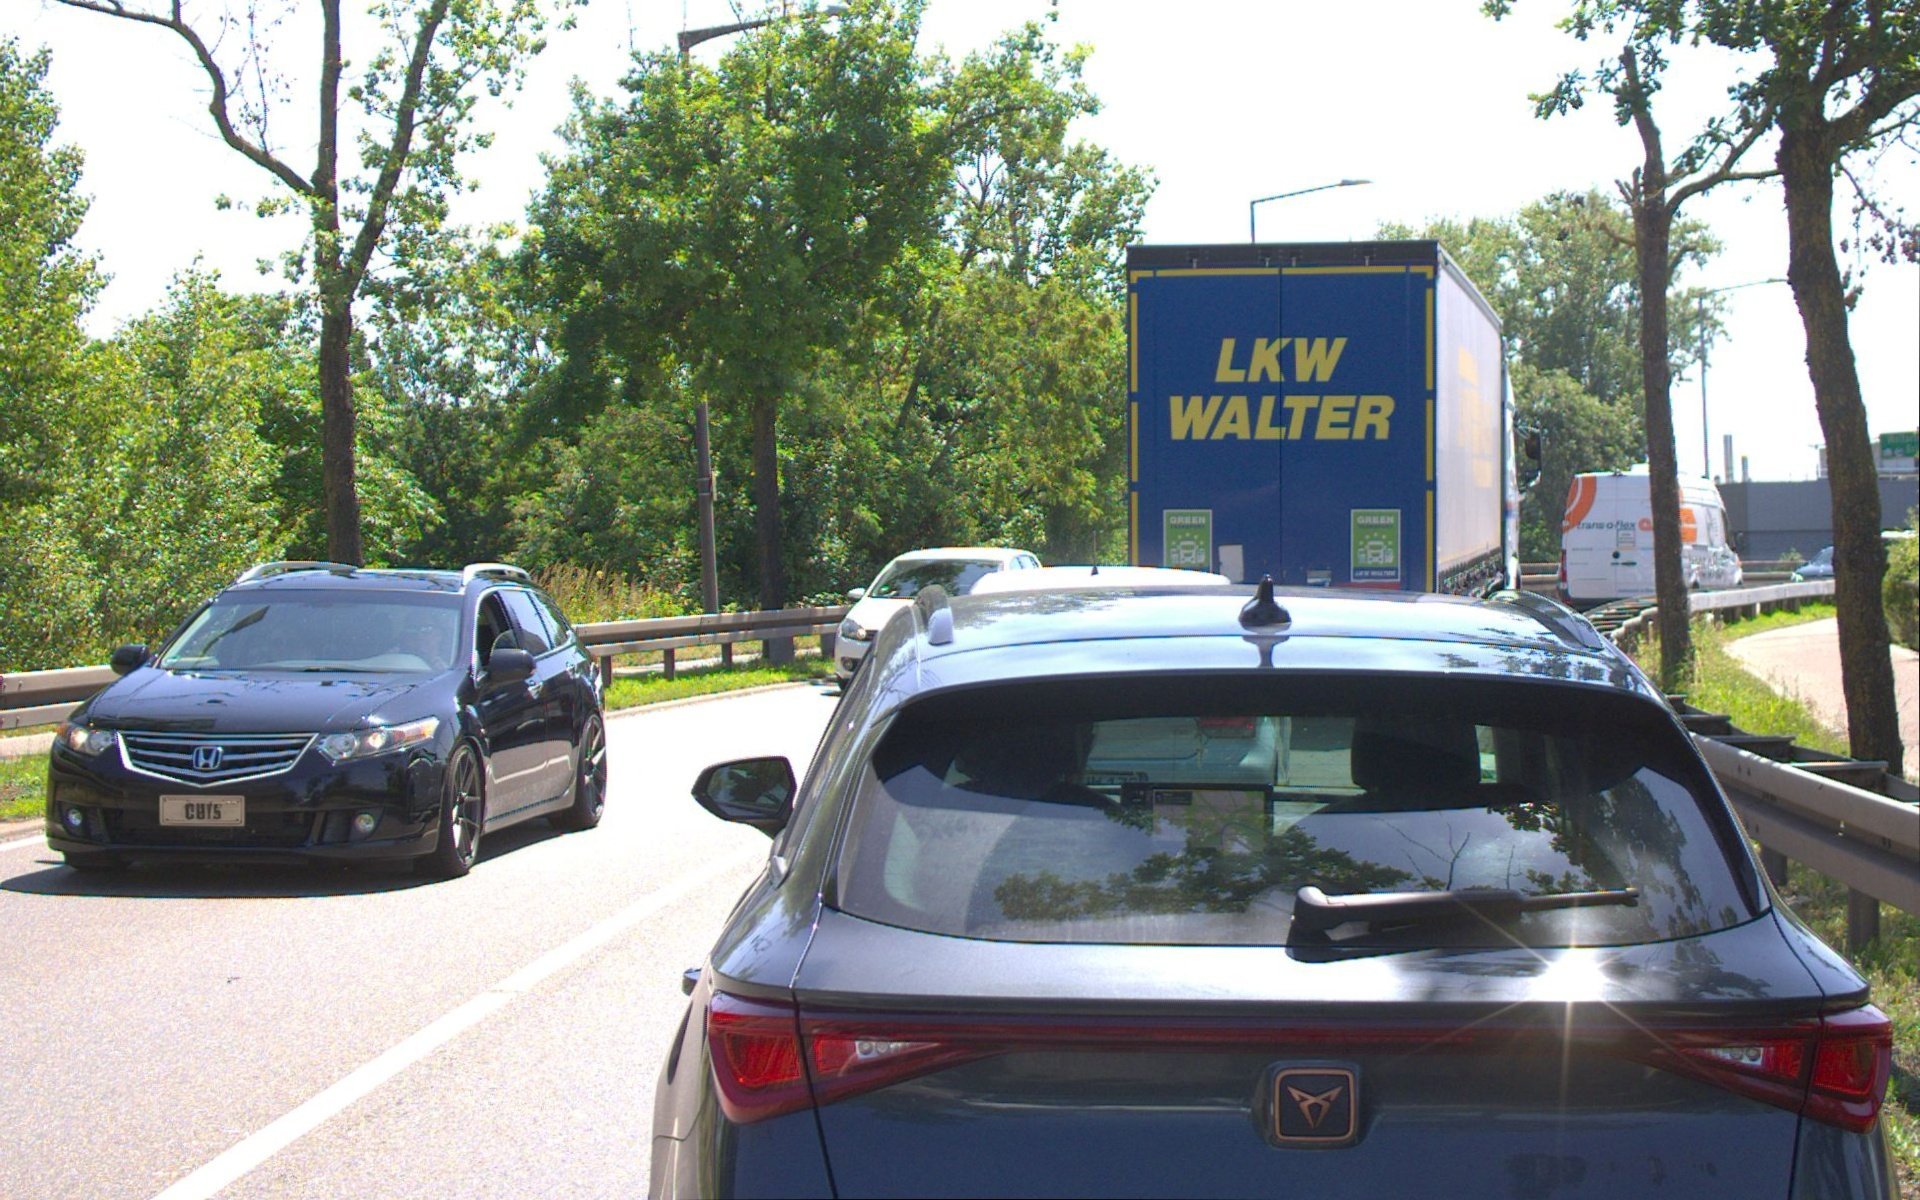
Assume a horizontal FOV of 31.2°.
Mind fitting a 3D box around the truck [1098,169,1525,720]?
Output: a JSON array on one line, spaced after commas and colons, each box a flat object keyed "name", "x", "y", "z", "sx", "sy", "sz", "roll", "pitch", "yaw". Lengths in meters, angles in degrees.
[{"name": "truck", "x": 4.193, "y": -1.376, "z": 36.199, "sx": 2.951, "sy": 4.433, "sz": 16.790, "roll": 1, "pitch": 1, "yaw": 11}]

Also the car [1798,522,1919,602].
[{"name": "car", "x": 20.254, "y": -0.844, "z": 76.032, "sx": 1.997, "sy": 1.706, "sz": 4.612, "roll": 1, "pitch": 1, "yaw": 32}]

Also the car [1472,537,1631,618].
[{"name": "car", "x": 12.820, "y": -0.493, "z": 74.286, "sx": 2.132, "sy": 1.675, "sz": 4.873, "roll": 1, "pitch": 1, "yaw": 25}]

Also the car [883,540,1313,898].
[{"name": "car", "x": 0.624, "y": 0.477, "z": 16.627, "sx": 1.809, "sy": 1.503, "sz": 4.000, "roll": 1, "pitch": 1, "yaw": 1}]

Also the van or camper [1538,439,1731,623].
[{"name": "van or camper", "x": 11.652, "y": -1.151, "z": 59.025, "sx": 2.468, "sy": 2.988, "sz": 6.080, "roll": 0, "pitch": 1, "yaw": 19}]

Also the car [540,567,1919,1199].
[{"name": "car", "x": 0.379, "y": 0.679, "z": 5.742, "sx": 1.744, "sy": 1.427, "sz": 3.880, "roll": 1, "pitch": 1, "yaw": -1}]

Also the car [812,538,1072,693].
[{"name": "car", "x": -0.119, "y": 0.126, "z": 35.708, "sx": 1.876, "sy": 1.493, "sz": 3.998, "roll": 1, "pitch": 1, "yaw": 12}]

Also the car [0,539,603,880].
[{"name": "car", "x": -3.041, "y": 0.427, "z": 16.799, "sx": 1.860, "sy": 1.416, "sz": 4.257, "roll": 1, "pitch": 1, "yaw": 4}]
